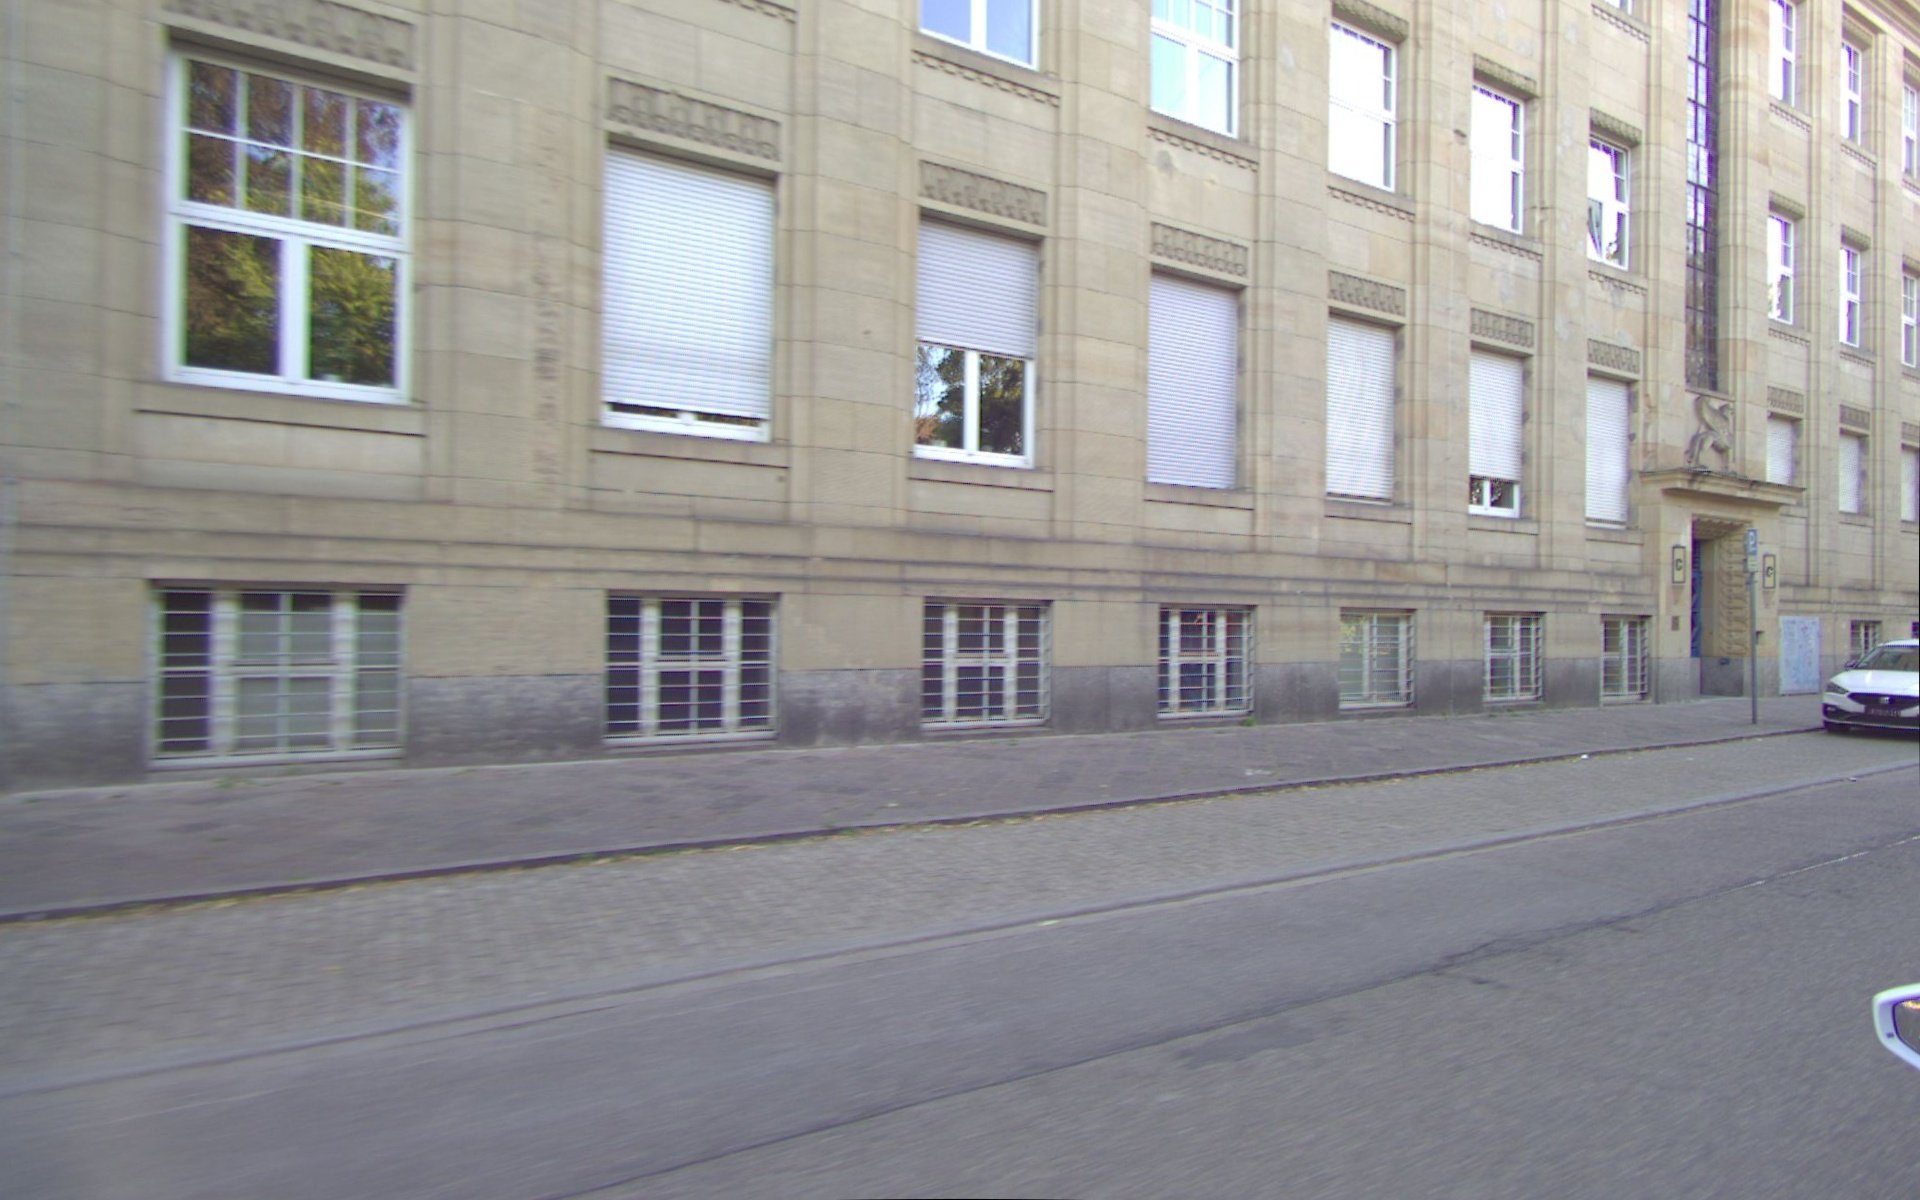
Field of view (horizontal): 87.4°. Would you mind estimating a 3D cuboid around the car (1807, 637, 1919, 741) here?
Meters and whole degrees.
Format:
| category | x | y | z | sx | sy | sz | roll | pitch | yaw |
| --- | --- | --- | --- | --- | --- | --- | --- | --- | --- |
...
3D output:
| category | x | y | z | sx | sy | sz | roll | pitch | yaw |
| --- | --- | --- | --- | --- | --- | --- | --- | --- | --- |
| car | 14.860 | 1.291 | 15.388 | 4.325 | 1.416 | 1.717 | 1 | -1 | -33 |
